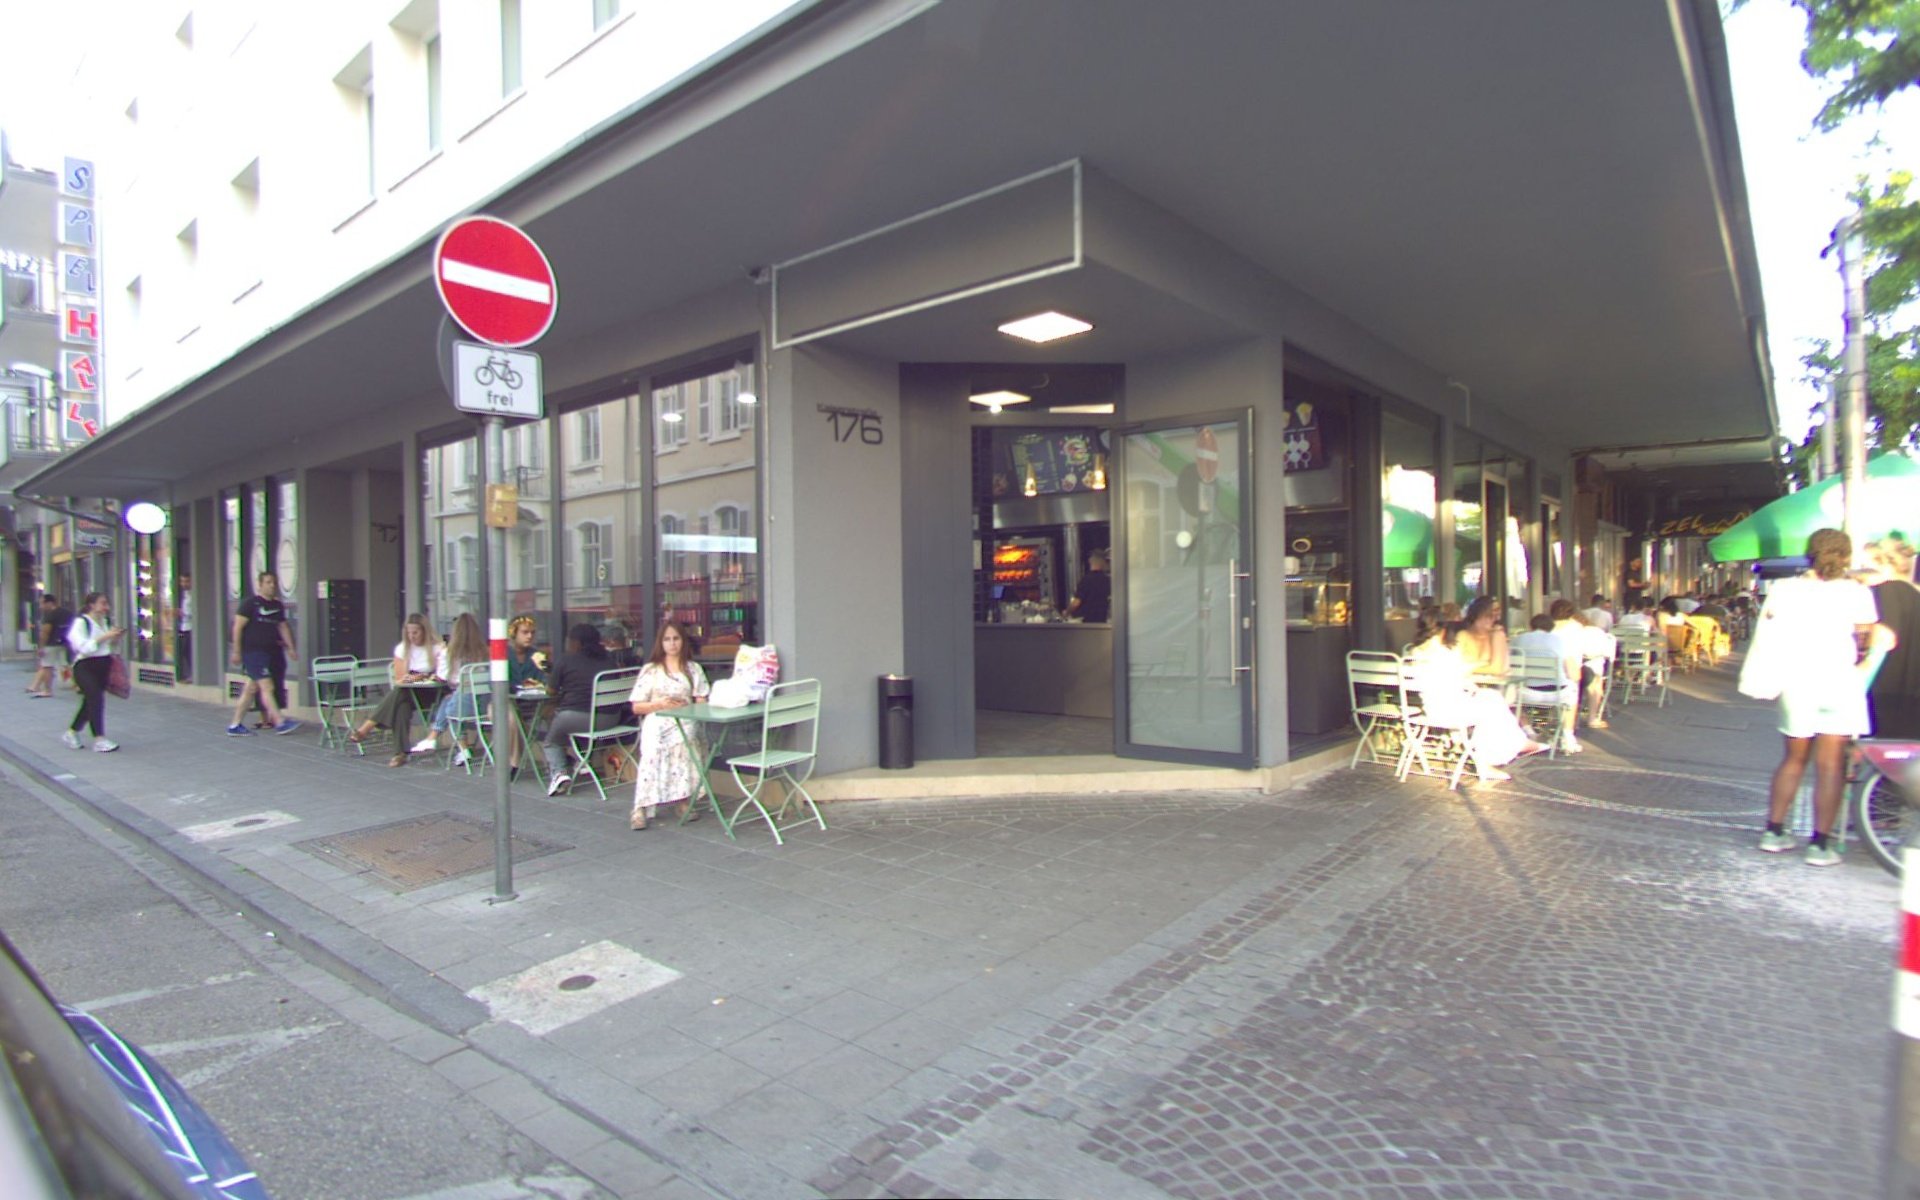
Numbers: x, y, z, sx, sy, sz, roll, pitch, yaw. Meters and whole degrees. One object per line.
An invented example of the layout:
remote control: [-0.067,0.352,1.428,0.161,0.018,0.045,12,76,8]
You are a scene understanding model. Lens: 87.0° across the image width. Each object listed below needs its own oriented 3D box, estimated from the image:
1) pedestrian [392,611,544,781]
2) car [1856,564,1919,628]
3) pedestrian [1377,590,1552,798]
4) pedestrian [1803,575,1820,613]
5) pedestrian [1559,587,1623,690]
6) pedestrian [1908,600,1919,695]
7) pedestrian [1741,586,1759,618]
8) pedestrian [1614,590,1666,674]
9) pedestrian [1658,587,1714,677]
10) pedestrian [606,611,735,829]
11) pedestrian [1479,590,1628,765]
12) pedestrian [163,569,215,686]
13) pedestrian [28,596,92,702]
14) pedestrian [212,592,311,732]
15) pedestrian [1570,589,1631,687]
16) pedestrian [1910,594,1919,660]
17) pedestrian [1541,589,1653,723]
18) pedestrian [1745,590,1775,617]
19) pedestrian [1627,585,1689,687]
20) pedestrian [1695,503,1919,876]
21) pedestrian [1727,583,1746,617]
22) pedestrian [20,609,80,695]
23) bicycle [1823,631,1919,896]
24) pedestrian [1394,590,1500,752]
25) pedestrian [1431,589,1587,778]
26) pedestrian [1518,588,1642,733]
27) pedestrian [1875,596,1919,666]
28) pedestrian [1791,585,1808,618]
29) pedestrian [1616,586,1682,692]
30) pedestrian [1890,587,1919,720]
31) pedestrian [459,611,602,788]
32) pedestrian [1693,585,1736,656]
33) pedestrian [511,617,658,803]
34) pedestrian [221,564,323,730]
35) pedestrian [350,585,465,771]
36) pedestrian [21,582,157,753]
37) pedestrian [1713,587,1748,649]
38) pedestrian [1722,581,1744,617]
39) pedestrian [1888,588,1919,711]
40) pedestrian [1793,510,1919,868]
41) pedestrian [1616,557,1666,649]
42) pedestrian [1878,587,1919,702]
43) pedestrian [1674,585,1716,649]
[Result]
pedestrian: [-4.009,0.754,8.278,0.853,1.295,0.702,-1,0,16]
car: [28.503,-0.112,30.803,1.799,1.832,4.453,2,1,41]
pedestrian: [3.538,0.604,7.094,0.888,1.330,0.869,0,0,43]
pedestrian: [37.493,-0.255,44.545,0.511,1.673,0.603,1,1,43]
pedestrian: [8.811,0.524,14.128,0.656,1.389,0.755,0,0,41]
pedestrian: [12.815,0.620,13.274,0.544,1.228,0.504,0,0,42]
pedestrian: [31.428,0.078,40.263,0.512,1.251,0.652,3,2,40]
pedestrian: [11.542,0.533,17.169,0.656,1.389,0.755,0,0,41]
pedestrian: [11.509,0.493,16.037,0.656,1.389,0.755,0,0,41]
pedestrian: [-1.778,0.698,6.315,0.694,1.228,0.844,-2,0,-12]
pedestrian: [4.875,0.594,8.313,0.888,1.330,0.869,0,0,43]
pedestrian: [-12.403,0.440,16.279,0.613,1.824,0.538,-1,-2,40]
pedestrian: [-15.897,0.843,17.875,0.932,1.795,0.697,-1,0,40]
pedestrian: [-8.204,0.709,11.905,0.632,1.581,0.656,-2,1,14]
pedestrian: [9.355,0.536,14.777,0.656,1.389,0.755,0,0,41]
pedestrian: [20.315,0.566,21.196,0.581,1.389,0.557,0,-1,41]
pedestrian: [6.741,0.559,10.705,0.850,1.330,0.869,0,0,44]
pedestrian: [34.119,0.154,43.148,0.766,1.128,0.826,1,2,-40]
pedestrian: [9.905,0.497,14.366,0.656,1.389,0.755,0,0,41]
pedestrian: [4.331,0.419,5.121,0.773,1.754,0.640,0,0,10]
pedestrian: [32.566,0.000,42.447,0.596,1.383,0.445,1,2,-40]
pedestrian: [-17.449,0.977,19.414,0.612,1.590,0.702,-1,1,37]
bicycle: [5.179,0.730,4.523,1.848,1.147,0.777,0,0,13]
pedestrian: [4.272,0.586,8.863,0.624,1.330,0.830,0,-1,43]
pedestrian: [4.194,0.589,7.732,0.850,1.330,0.869,0,0,44]
pedestrian: [6.084,0.558,9.932,0.888,1.330,0.869,0,0,43]
pedestrian: [17.393,0.561,18.700,0.710,1.274,0.592,0,0,41]
pedestrian: [36.586,0.069,44.108,0.511,1.444,0.603,1,1,43]
pedestrian: [9.298,0.508,13.652,0.656,1.389,0.755,0,0,41]
pedestrian: [10.350,0.548,10.713,0.718,1.372,0.998,0,0,42]
pedestrian: [-3.355,0.737,7.909,0.778,1.249,0.696,-1,3,44]
pedestrian: [15.136,0.402,20.299,0.656,1.389,0.755,0,0,41]
pedestrian: [-2.712,0.751,7.315,0.691,1.204,0.696,-1,3,43]
pedestrian: [-7.969,0.520,11.717,0.932,1.824,0.707,-2,0,41]
pedestrian: [-4.953,0.658,9.058,0.695,1.559,0.862,-2,0,-42]
pedestrian: [-9.238,0.706,10.767,0.774,1.753,0.758,-1,-2,4]
pedestrian: [17.535,0.399,23.026,0.607,1.389,0.639,0,0,41]
pedestrian: [31.988,-0.054,41.896,0.612,1.444,0.504,3,2,43]
pedestrian: [11.145,0.555,11.611,0.718,1.372,0.912,0,0,42]
pedestrian: [5.010,0.439,5.293,0.770,1.754,0.642,0,0,-2]
pedestrian: [13.397,0.059,19.926,0.652,1.779,0.760,0,0,22]
pedestrian: [11.758,0.527,12.424,0.718,1.372,0.998,0,0,42]
pedestrian: [16.284,0.365,22.413,0.692,1.389,0.755,0,0,41]
